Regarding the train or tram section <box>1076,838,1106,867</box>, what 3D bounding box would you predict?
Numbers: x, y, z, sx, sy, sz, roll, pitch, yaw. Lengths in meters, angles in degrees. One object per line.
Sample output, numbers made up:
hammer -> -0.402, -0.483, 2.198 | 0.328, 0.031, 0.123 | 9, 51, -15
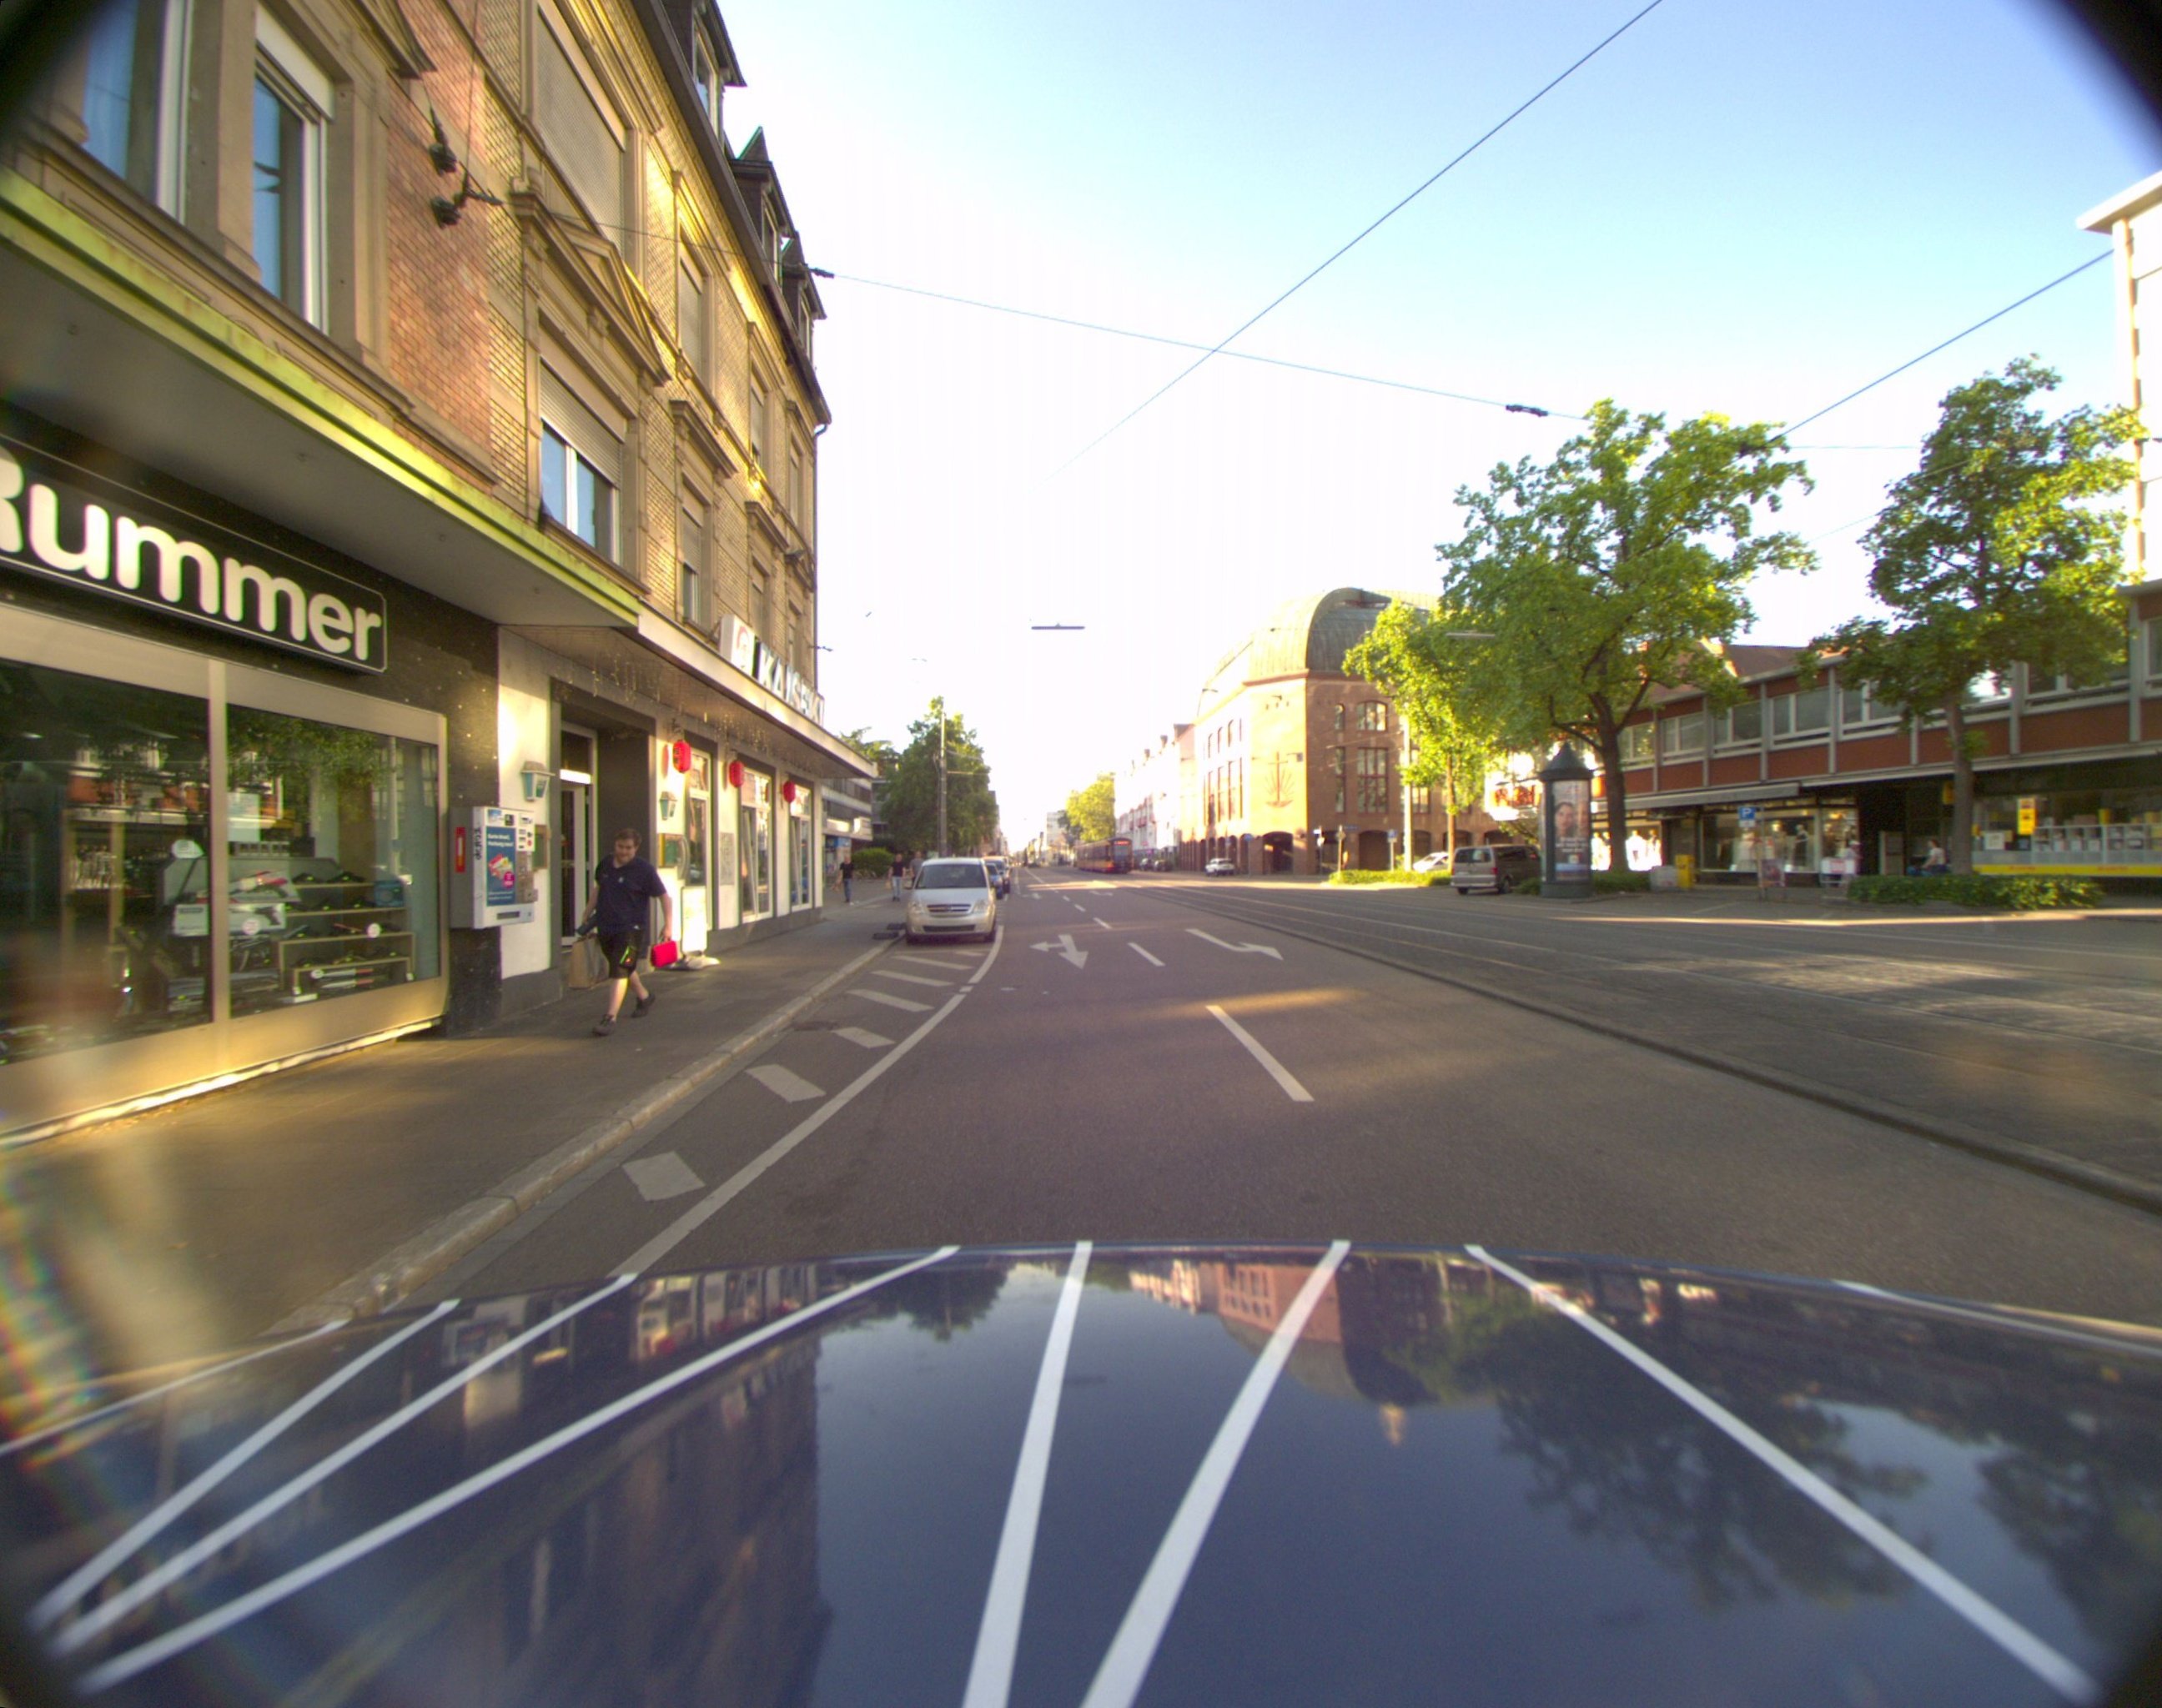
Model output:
train or tram section -> 1.218, -0.186, 100.002 | 2.767, 3.530, 12.461 | 0, 0, -5

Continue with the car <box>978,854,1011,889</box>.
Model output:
car -> -4.790, 0.908, 42.349 | 1.680, 1.797, 4.246 | -2, 0, -5

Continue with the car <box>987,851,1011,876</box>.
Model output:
car -> -7.204, 0.824, 66.917 | 1.882, 2.009, 4.903 | -2, 0, -5

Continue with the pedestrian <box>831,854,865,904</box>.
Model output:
pedestrian -> -8.313, 0.883, 27.147 | 0.903, 1.703, 1.032 | 2, 0, -5

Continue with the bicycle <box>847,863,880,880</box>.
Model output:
bicycle -> -14.125, 1.120, 49.399 | 2.021, 1.089, 0.637 | 1, 0, -12

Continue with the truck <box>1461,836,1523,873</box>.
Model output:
truck -> 31.985, 0.039, 59.245 | 1.856, 2.747, 4.527 | -1, 0, -9

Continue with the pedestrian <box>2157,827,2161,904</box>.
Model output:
pedestrian -> 27.905, 0.290, 19.056 | 0.997, 1.937, 0.898 | -1, 0, -25

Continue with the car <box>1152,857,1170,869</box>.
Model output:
car -> 10.035, 1.095, 95.205 | 1.647, 1.392, 3.681 | -2, 0, -4

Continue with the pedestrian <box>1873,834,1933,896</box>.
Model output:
pedestrian -> 25.463, 0.344, 23.558 | 0.919, 1.867, 0.899 | -1, 0, -7

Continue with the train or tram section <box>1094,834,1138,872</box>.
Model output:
train or tram section -> 3.327, -0.119, 76.336 | 2.684, 3.530, 12.834 | 0, 0, -5

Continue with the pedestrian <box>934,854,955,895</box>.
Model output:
pedestrian -> -5.977, 0.889, 33.312 | 0.789, 1.727, 0.945 | -1, 0, -5

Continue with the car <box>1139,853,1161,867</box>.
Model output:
car -> 9.244, 0.781, 101.875 | 1.965, 1.690, 4.558 | -2, 0, -6

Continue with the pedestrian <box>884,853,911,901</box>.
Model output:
pedestrian -> -6.853, 0.856, 28.405 | 0.813, 1.746, 1.032 | 0, 0, -5

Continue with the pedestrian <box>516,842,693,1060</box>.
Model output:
pedestrian -> -4.181, 0.797, 6.767 | 0.949, 1.782, 1.054 | 0, 0, -5

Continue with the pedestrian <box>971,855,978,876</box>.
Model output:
pedestrian -> -8.673, 0.967, 61.896 | 0.494, 1.703, 0.437 | 2, 0, -5

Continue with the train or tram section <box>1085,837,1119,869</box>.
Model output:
train or tram section -> 2.307, -0.137, 88.288 | 2.684, 3.530, 11.120 | 0, 0, -5

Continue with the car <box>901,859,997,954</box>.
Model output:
car -> -2.549, 0.942, 15.430 | 1.642, 1.605, 3.943 | -1, 0, -6

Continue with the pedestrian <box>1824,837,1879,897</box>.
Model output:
pedestrian -> 24.408, 0.408, 24.095 | 0.917, 1.867, 0.901 | 0, 0, 18

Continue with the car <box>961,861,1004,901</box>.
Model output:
car -> -4.130, 1.085, 32.236 | 1.642, 1.484, 3.793 | -3, 0, -6

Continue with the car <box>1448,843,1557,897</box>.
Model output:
car -> 17.209, 0.589, 30.925 | 5.130, 1.918, 1.849 | -3, 2, -36

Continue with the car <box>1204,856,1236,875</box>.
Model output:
car -> 12.532, 0.986, 68.524 | 1.600, 1.581, 4.275 | -3, 0, -7

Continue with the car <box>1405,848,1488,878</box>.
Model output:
car -> 26.172, 0.596, 54.516 | 4.994, 1.957, 2.130 | -1, 3, -7

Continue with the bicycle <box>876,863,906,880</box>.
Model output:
bicycle -> -12.631, 1.136, 50.444 | 1.887, 1.090, 0.469 | 0, 1, -7

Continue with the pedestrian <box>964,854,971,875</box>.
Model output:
pedestrian -> -9.267, 0.867, 61.878 | 0.494, 1.703, 0.437 | 2, 0, -5

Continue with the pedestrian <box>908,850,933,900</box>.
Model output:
pedestrian -> -6.103, 0.788, 28.905 | 0.796, 1.888, 1.032 | 0, 0, -5

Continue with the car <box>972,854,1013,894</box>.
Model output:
car -> -4.327, 0.948, 37.618 | 1.826, 1.747, 4.472 | -2, 1, -5
